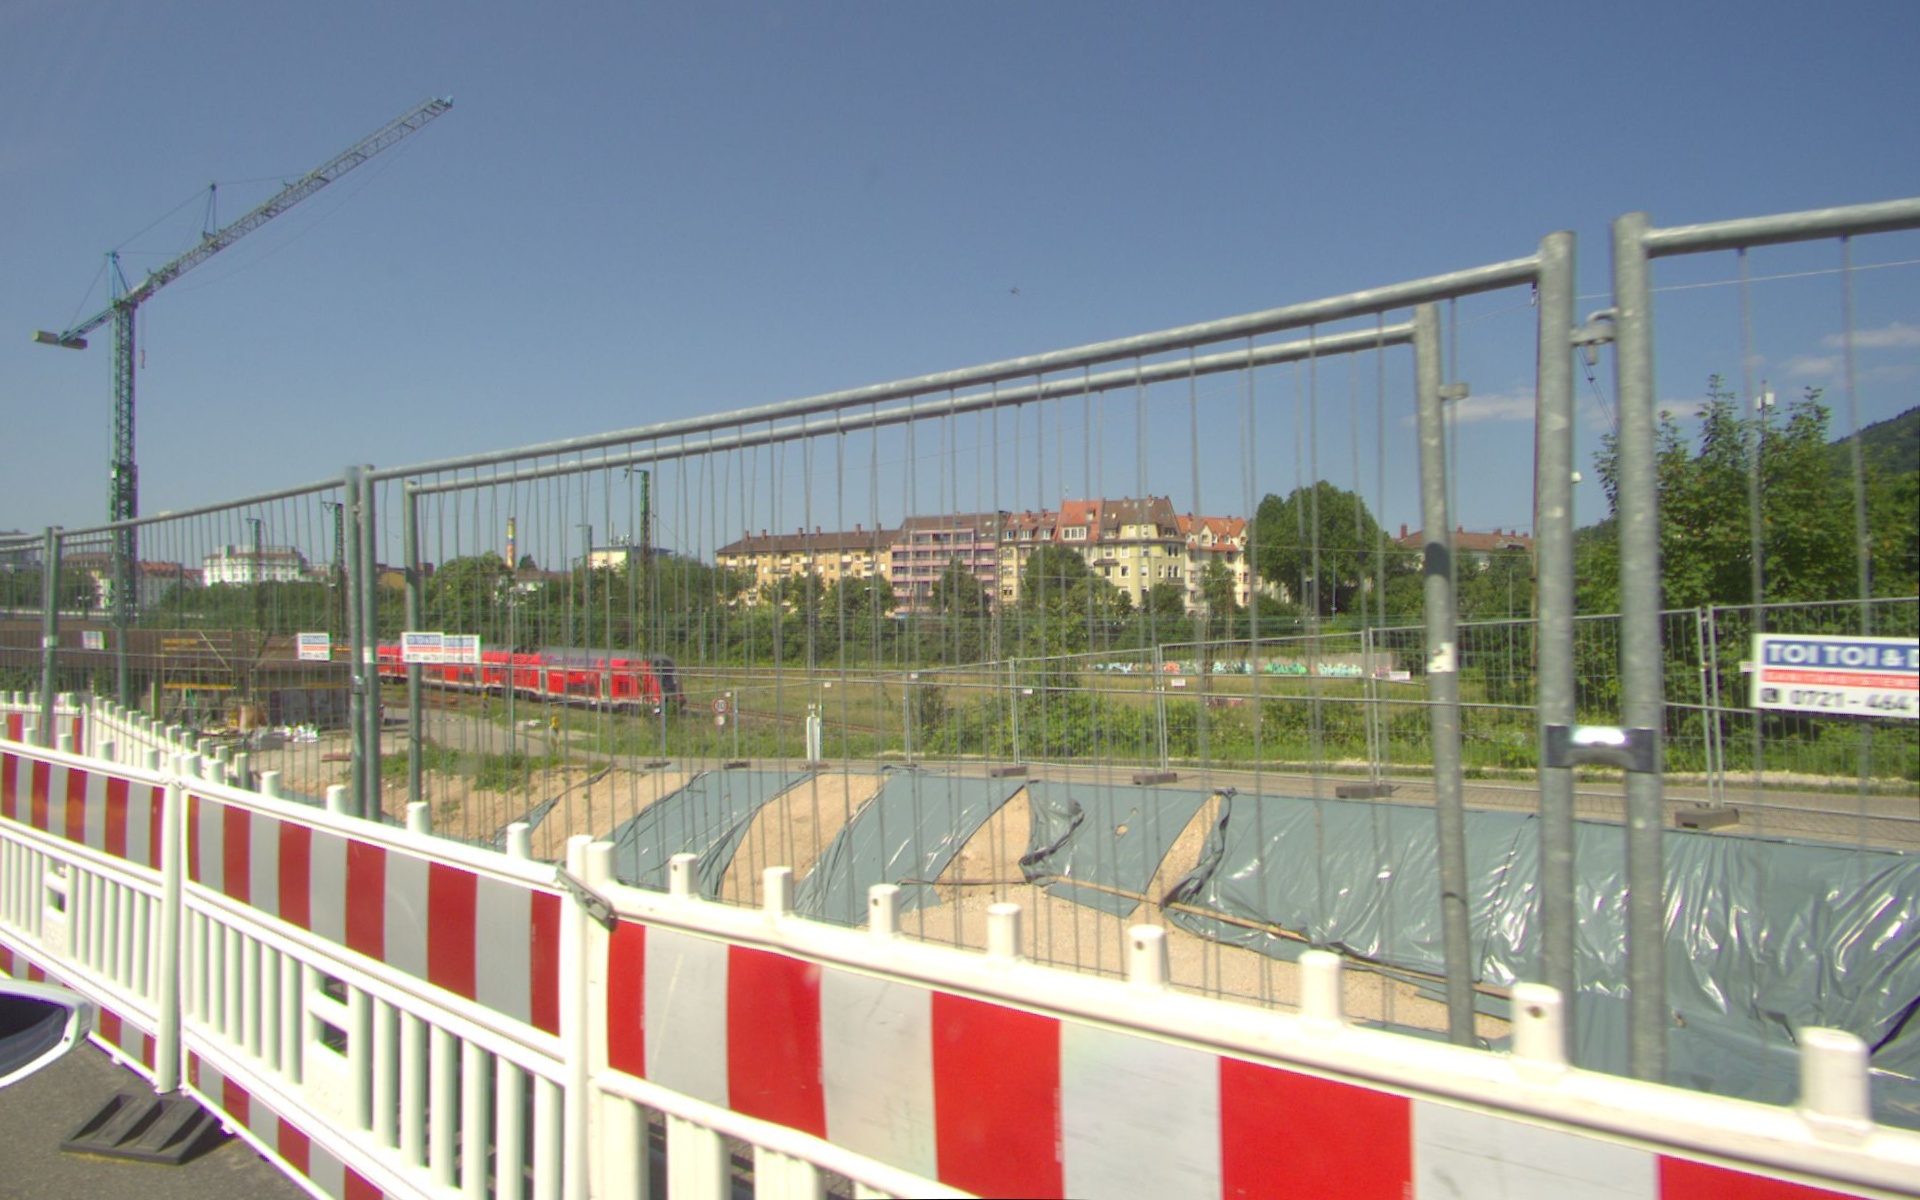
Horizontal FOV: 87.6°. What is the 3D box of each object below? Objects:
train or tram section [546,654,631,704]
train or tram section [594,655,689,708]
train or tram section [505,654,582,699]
[{"bbox_3d":[-30.379,6.376,81.666,2.998,3.759,8.884,4,-5,-45],"label":"train or tram section"},{"bbox_3d":[-24.074,6.031,75.372,8.883,3.746,2.998,-3,-5,45],"label":"train or tram section"},{"bbox_3d":[-36.642,6.656,87.963,2.998,3.757,8.884,4,-5,-45],"label":"train or tram section"}]
